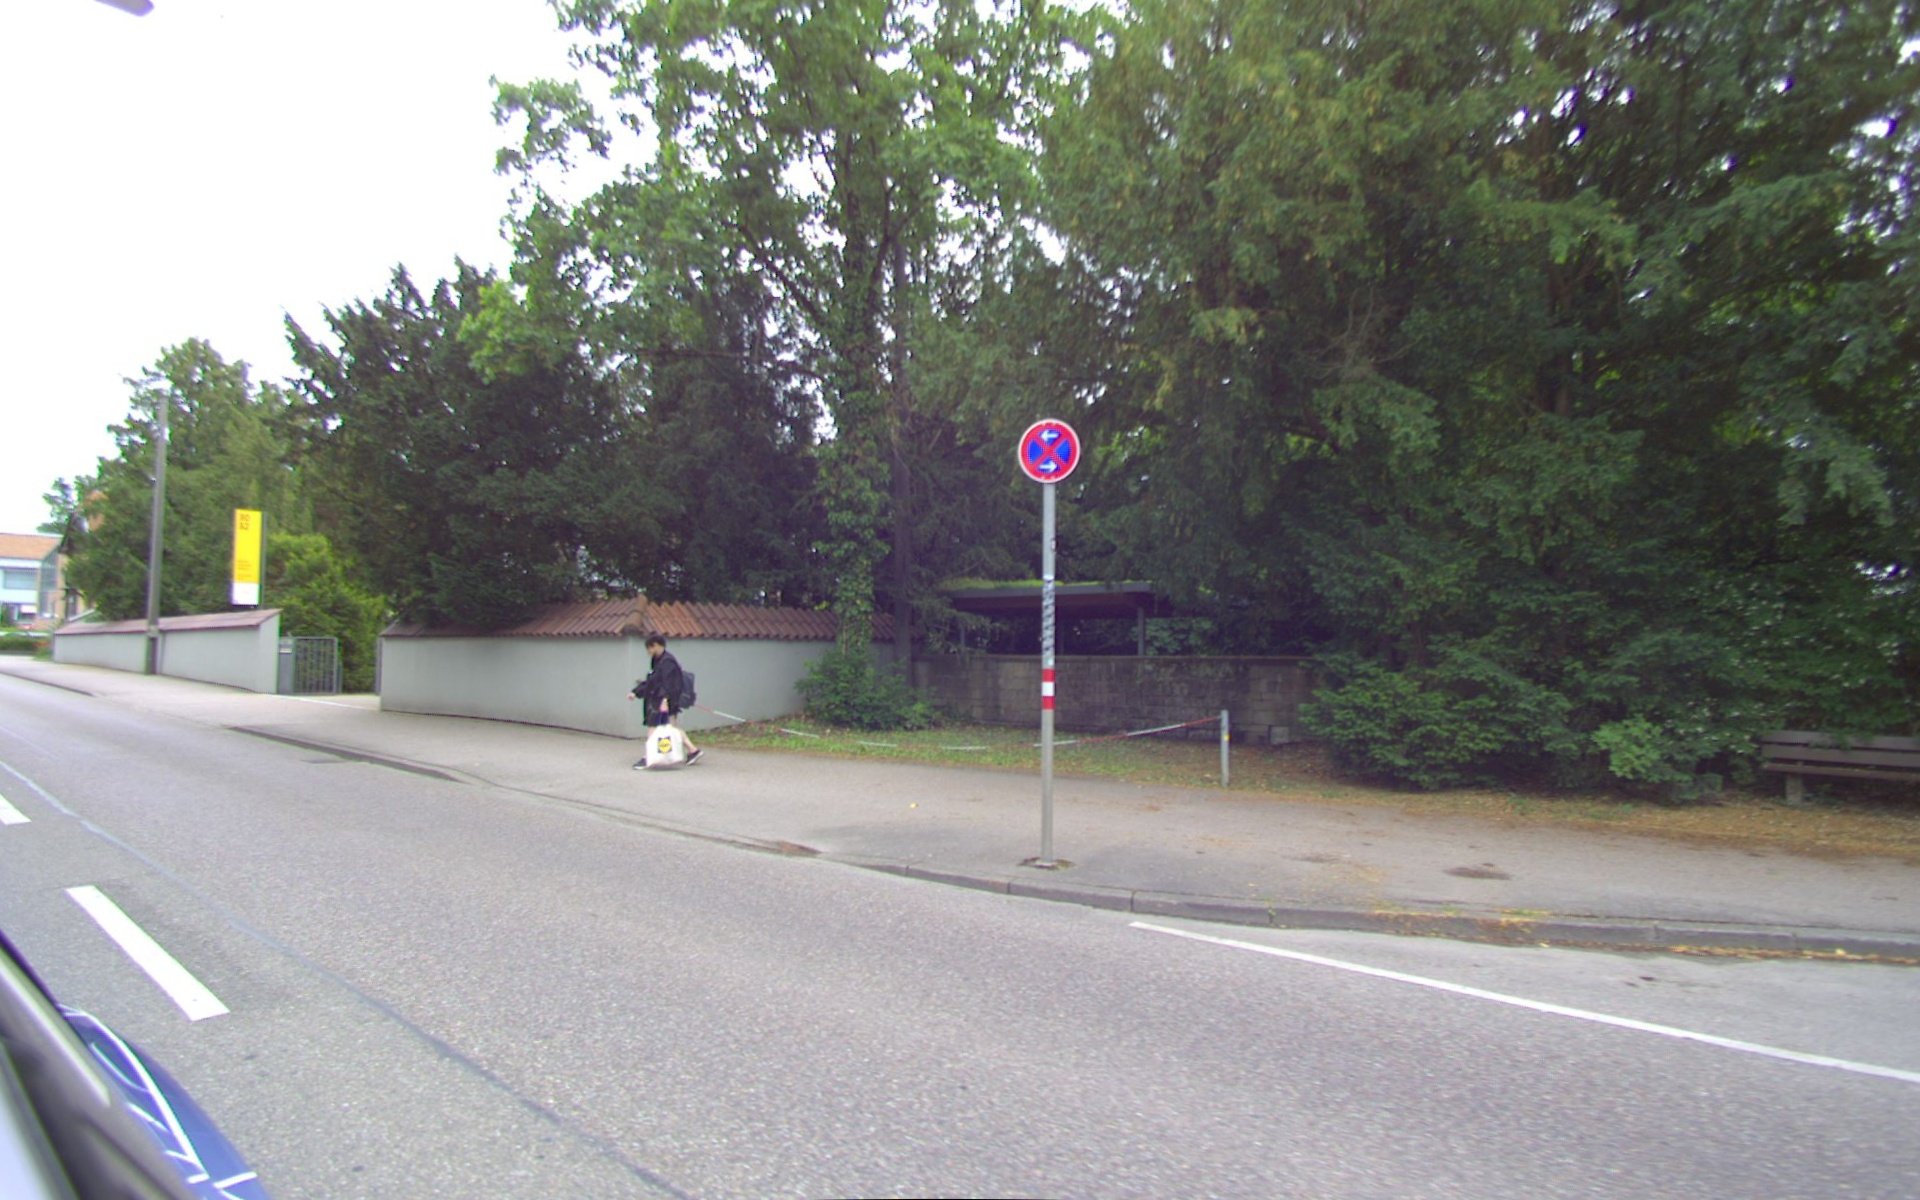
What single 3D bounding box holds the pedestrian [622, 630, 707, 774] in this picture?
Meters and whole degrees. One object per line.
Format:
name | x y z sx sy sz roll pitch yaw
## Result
pedestrian | -3.377 1.132 11.658 0.887 1.572 0.931 0 -2 -13
